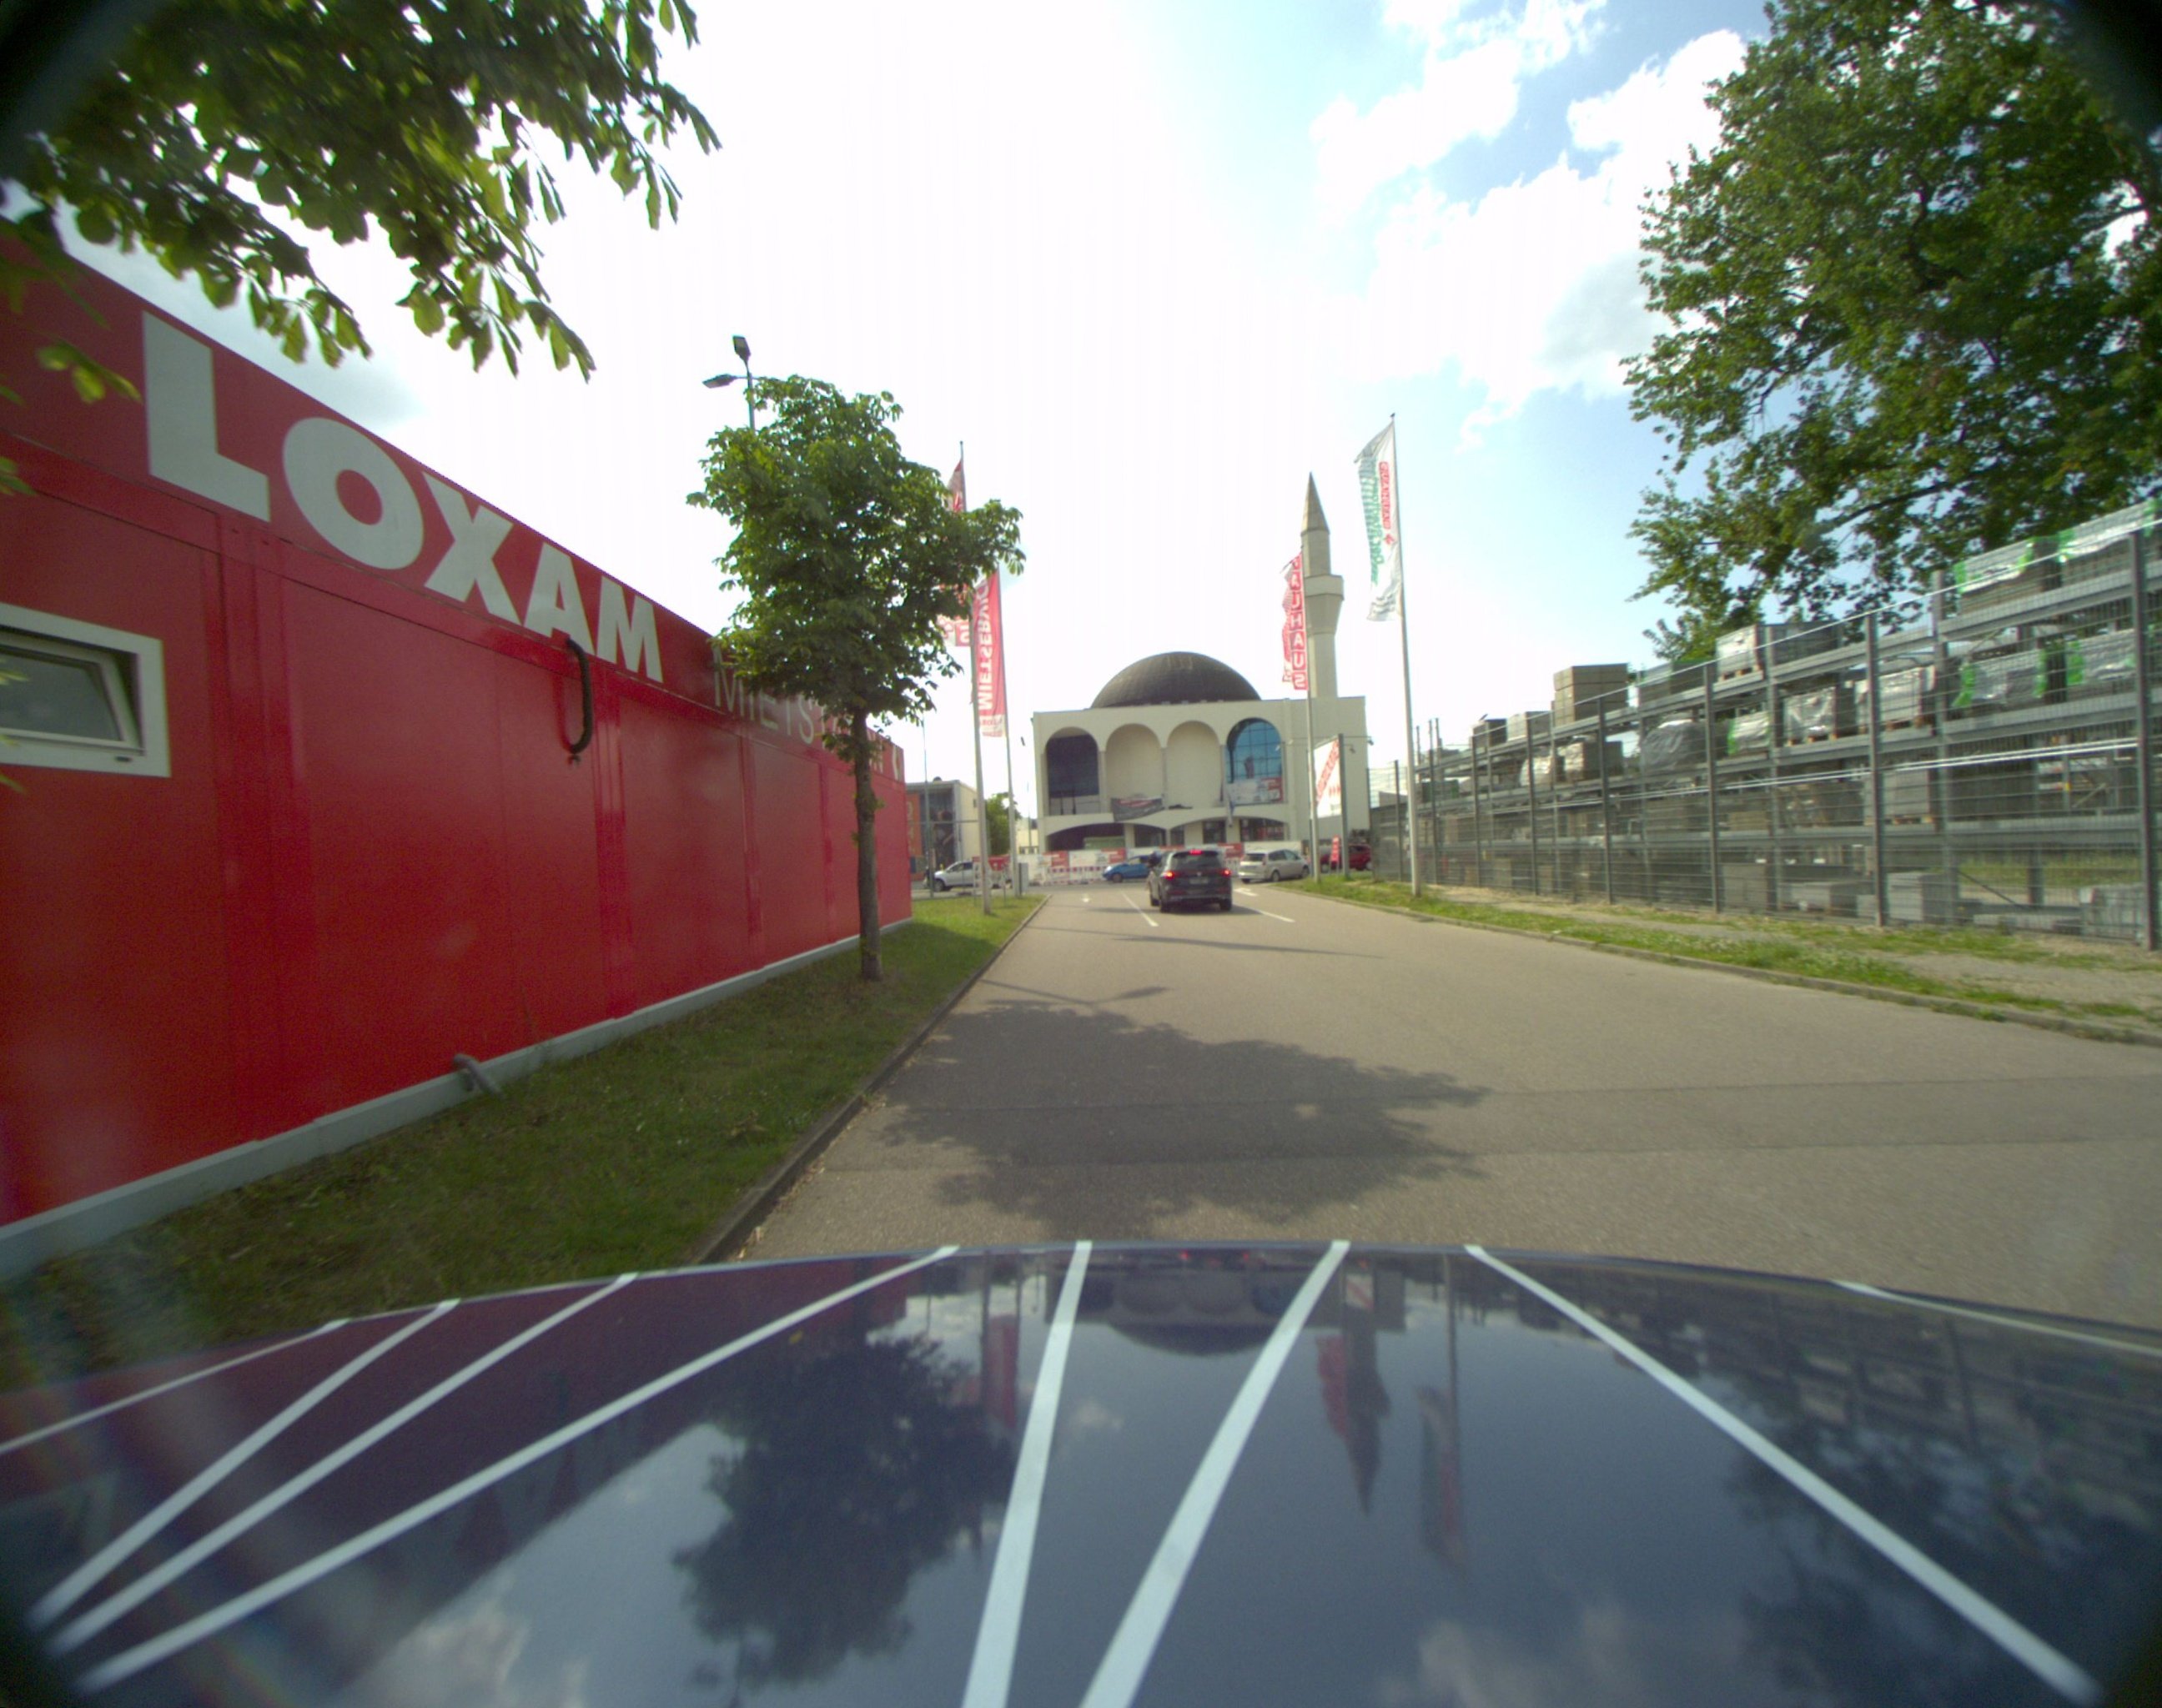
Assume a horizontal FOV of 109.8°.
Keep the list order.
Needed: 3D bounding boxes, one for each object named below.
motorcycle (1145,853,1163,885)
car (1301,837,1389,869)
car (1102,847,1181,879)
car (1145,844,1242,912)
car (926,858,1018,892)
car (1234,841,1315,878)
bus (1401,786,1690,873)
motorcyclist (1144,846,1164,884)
[{"bbox_3d":[3.218,0.646,33.440,0.671,1.298,2.213,-3,1,4],"label":"motorcycle"},{"bbox_3d":[14.564,-0.052,42.037,4.190,1.501,1.792,-3,1,2],"label":"car"},{"bbox_3d":[3.293,0.487,42.106,4.193,1.505,1.697,-3,1,1],"label":"car"},{"bbox_3d":[2.947,0.587,20.854,1.920,1.608,4.373,-2,0,-1],"label":"car"},{"bbox_3d":[-6.009,1.140,42.358,4.836,1.689,1.868,-2,0,-2],"label":"car"},{"bbox_3d":[9.373,0.264,36.625,4.217,1.555,1.718,-3,1,-44],"label":"car"},{"bbox_3d":[21.465,-1.122,35.589,11.559,3.345,2.893,-3,1,2],"label":"bus"},{"bbox_3d":[3.203,0.488,33.344,0.788,1.619,0.686,-3,1,4],"label":"motorcyclist"}]
